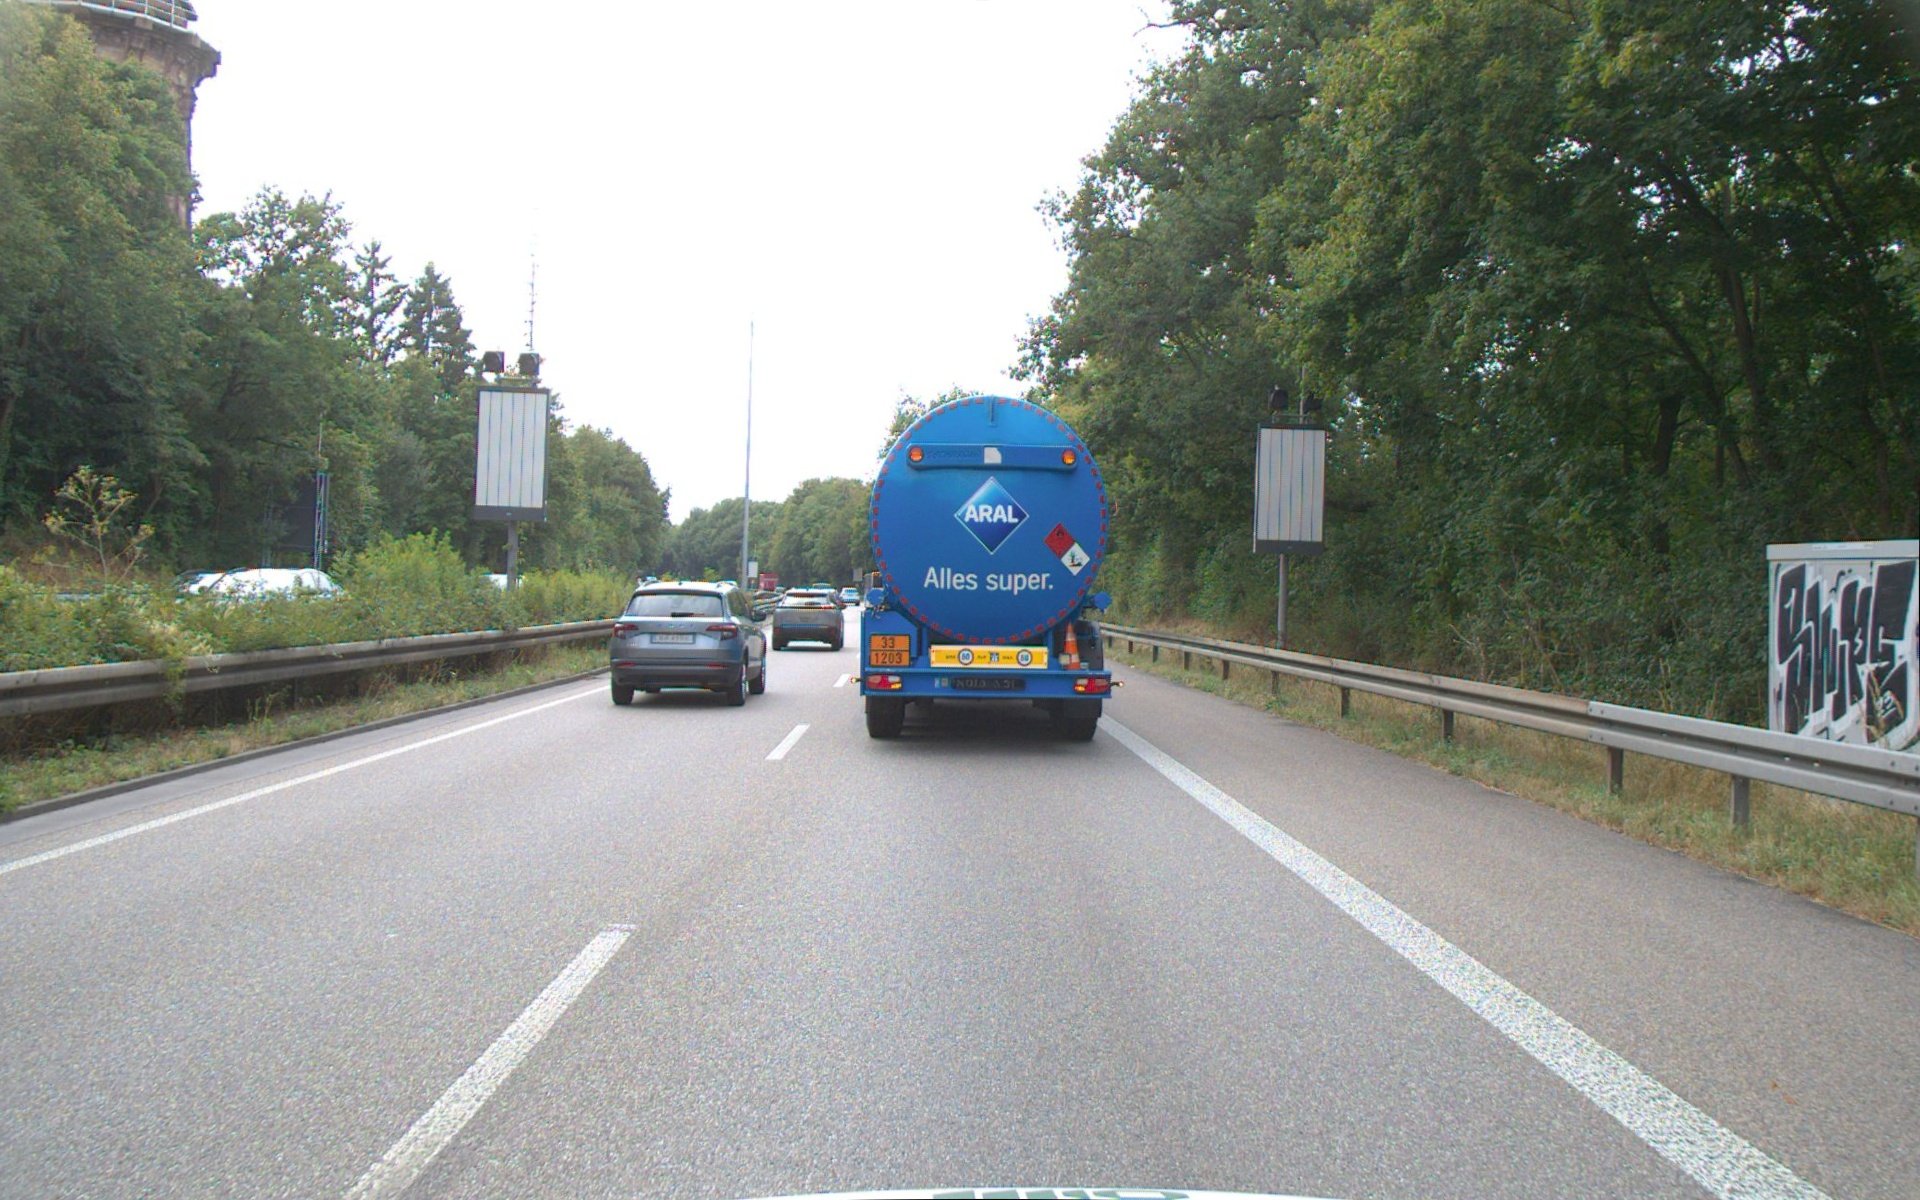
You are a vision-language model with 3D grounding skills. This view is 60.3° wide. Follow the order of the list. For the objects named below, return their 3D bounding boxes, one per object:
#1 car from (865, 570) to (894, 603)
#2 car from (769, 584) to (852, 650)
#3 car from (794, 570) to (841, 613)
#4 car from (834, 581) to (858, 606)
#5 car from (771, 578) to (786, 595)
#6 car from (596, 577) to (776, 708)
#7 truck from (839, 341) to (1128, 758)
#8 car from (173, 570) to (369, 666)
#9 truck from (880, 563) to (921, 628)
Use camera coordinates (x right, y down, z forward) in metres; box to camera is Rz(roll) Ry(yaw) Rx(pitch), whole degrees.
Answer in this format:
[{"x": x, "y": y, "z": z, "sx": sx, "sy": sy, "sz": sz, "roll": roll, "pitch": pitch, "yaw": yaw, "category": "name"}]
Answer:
[{"x": -5.703, "y": -0.945, "z": 117.313, "sx": 1.953, "sy": 2.284, "sz": 3.998, "roll": 0, "pitch": 0, "yaw": -3, "category": "car"}, {"x": -3.867, "y": 0.421, "z": 43.434, "sx": 1.789, "sy": 1.637, "sz": 4.167, "roll": 0, "pitch": 0, "yaw": 0, "category": "car"}, {"x": -6.993, "y": -0.380, "z": 81.257, "sx": 1.953, "sy": 2.049, "sz": 4.000, "roll": 0, "pitch": 0, "yaw": 0, "category": "car"}, {"x": -10.878, "y": -0.613, "z": 158.155, "sx": 1.953, "sy": 2.284, "sz": 4.000, "roll": 0, "pitch": 0, "yaw": 0, "category": "car"}, {"x": -24.021, "y": -1.781, "z": 219.176, "sx": 1.956, "sy": 2.284, "sz": 3.994, "roll": 0, "pitch": 0, "yaw": -7, "category": "car"}, {"x": -3.669, "y": 0.542, "z": 22.867, "sx": 1.789, "sy": 1.637, "sz": 4.167, "roll": 0, "pitch": 0, "yaw": 0, "category": "car"}, {"x": 0.218, "y": -0.465, "z": 19.459, "sx": 2.699, "sy": 3.914, "sz": 7.687, "roll": 0, "pitch": 0, "yaw": 0, "category": "truck"}, {"x": -12.540, "y": 0.318, "z": 30.409, "sx": 1.953, "sy": 1.639, "sz": 3.999, "roll": 0, "pitch": 0, "yaw": -1, "category": "car"}, {"x": -2.977, "y": -0.209, "z": 83.869, "sx": 1.953, "sy": 3.147, "sz": 7.813, "roll": 0, "pitch": 0, "yaw": -1, "category": "truck"}]
